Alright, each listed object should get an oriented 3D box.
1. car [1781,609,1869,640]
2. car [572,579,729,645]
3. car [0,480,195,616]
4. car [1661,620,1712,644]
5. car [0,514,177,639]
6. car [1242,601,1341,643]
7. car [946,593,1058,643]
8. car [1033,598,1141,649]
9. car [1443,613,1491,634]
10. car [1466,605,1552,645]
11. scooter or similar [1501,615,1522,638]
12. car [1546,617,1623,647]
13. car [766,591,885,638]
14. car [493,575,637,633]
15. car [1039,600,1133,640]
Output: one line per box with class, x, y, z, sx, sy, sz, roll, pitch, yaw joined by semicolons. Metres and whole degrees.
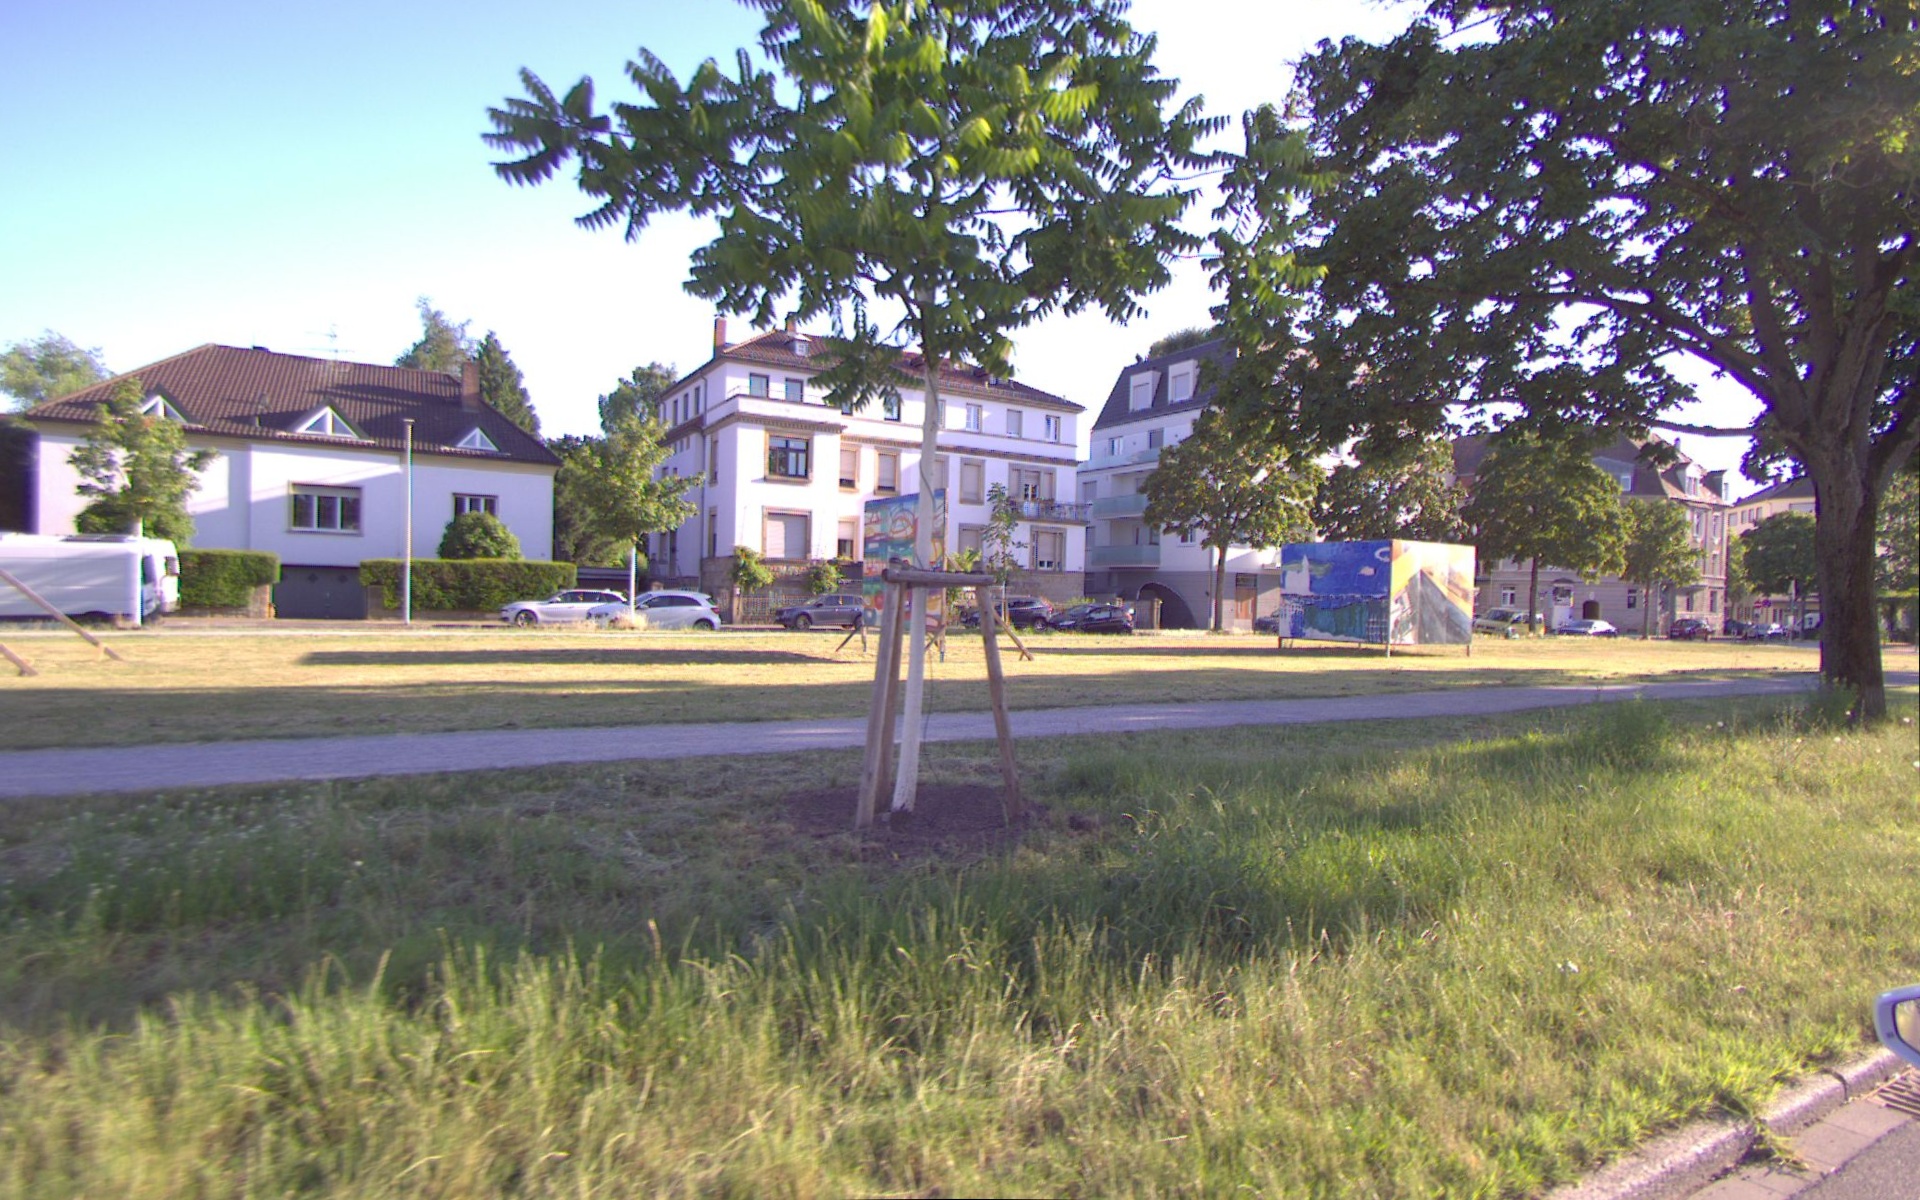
car;84.959;2.380;98.799;6.202;2.756;1.999;2;0;30
car;-10.091;0.444;32.860;4.587;1.924;1.826;3;-4;-30
car;-26.754;-1.472;29.286;6.687;3.605;2.293;3;-4;-30
car;57.466;2.533;79.404;4.242;1.729;1.637;3;-4;-29
car;-23.199;-0.555;24.701;5.802;2.862;2.250;3;-4;-30
car;15.898;1.093;48.133;4.637;1.851;1.919;3;-4;-30
car;1.983;0.894;47.013;4.795;2.158;2.229;3;-4;-29
car;5.334;1.023;42.047;4.277;1.941;1.881;3;-4;-31
car;43.149;2.028;85.509;4.027;1.658;1.690;3;-4;-29
car;31.372;1.460;57.353;4.993;2.084;1.985;3;-4;-30
scooter or similar;27.498;1.331;50.071;1.286;1.142;0.389;2;1;-38
car;38.470;2.016;61.874;4.769;1.658;1.975;3;-4;-29
car;-5.605;0.652;42.036;4.613;1.724;1.773;3;-4;-31
car;-14.470;0.213;36.869;4.660;1.878;1.722;3;-4;-31
car;6.241;1.005;49.446;4.407;1.766;1.813;3;-4;-30
